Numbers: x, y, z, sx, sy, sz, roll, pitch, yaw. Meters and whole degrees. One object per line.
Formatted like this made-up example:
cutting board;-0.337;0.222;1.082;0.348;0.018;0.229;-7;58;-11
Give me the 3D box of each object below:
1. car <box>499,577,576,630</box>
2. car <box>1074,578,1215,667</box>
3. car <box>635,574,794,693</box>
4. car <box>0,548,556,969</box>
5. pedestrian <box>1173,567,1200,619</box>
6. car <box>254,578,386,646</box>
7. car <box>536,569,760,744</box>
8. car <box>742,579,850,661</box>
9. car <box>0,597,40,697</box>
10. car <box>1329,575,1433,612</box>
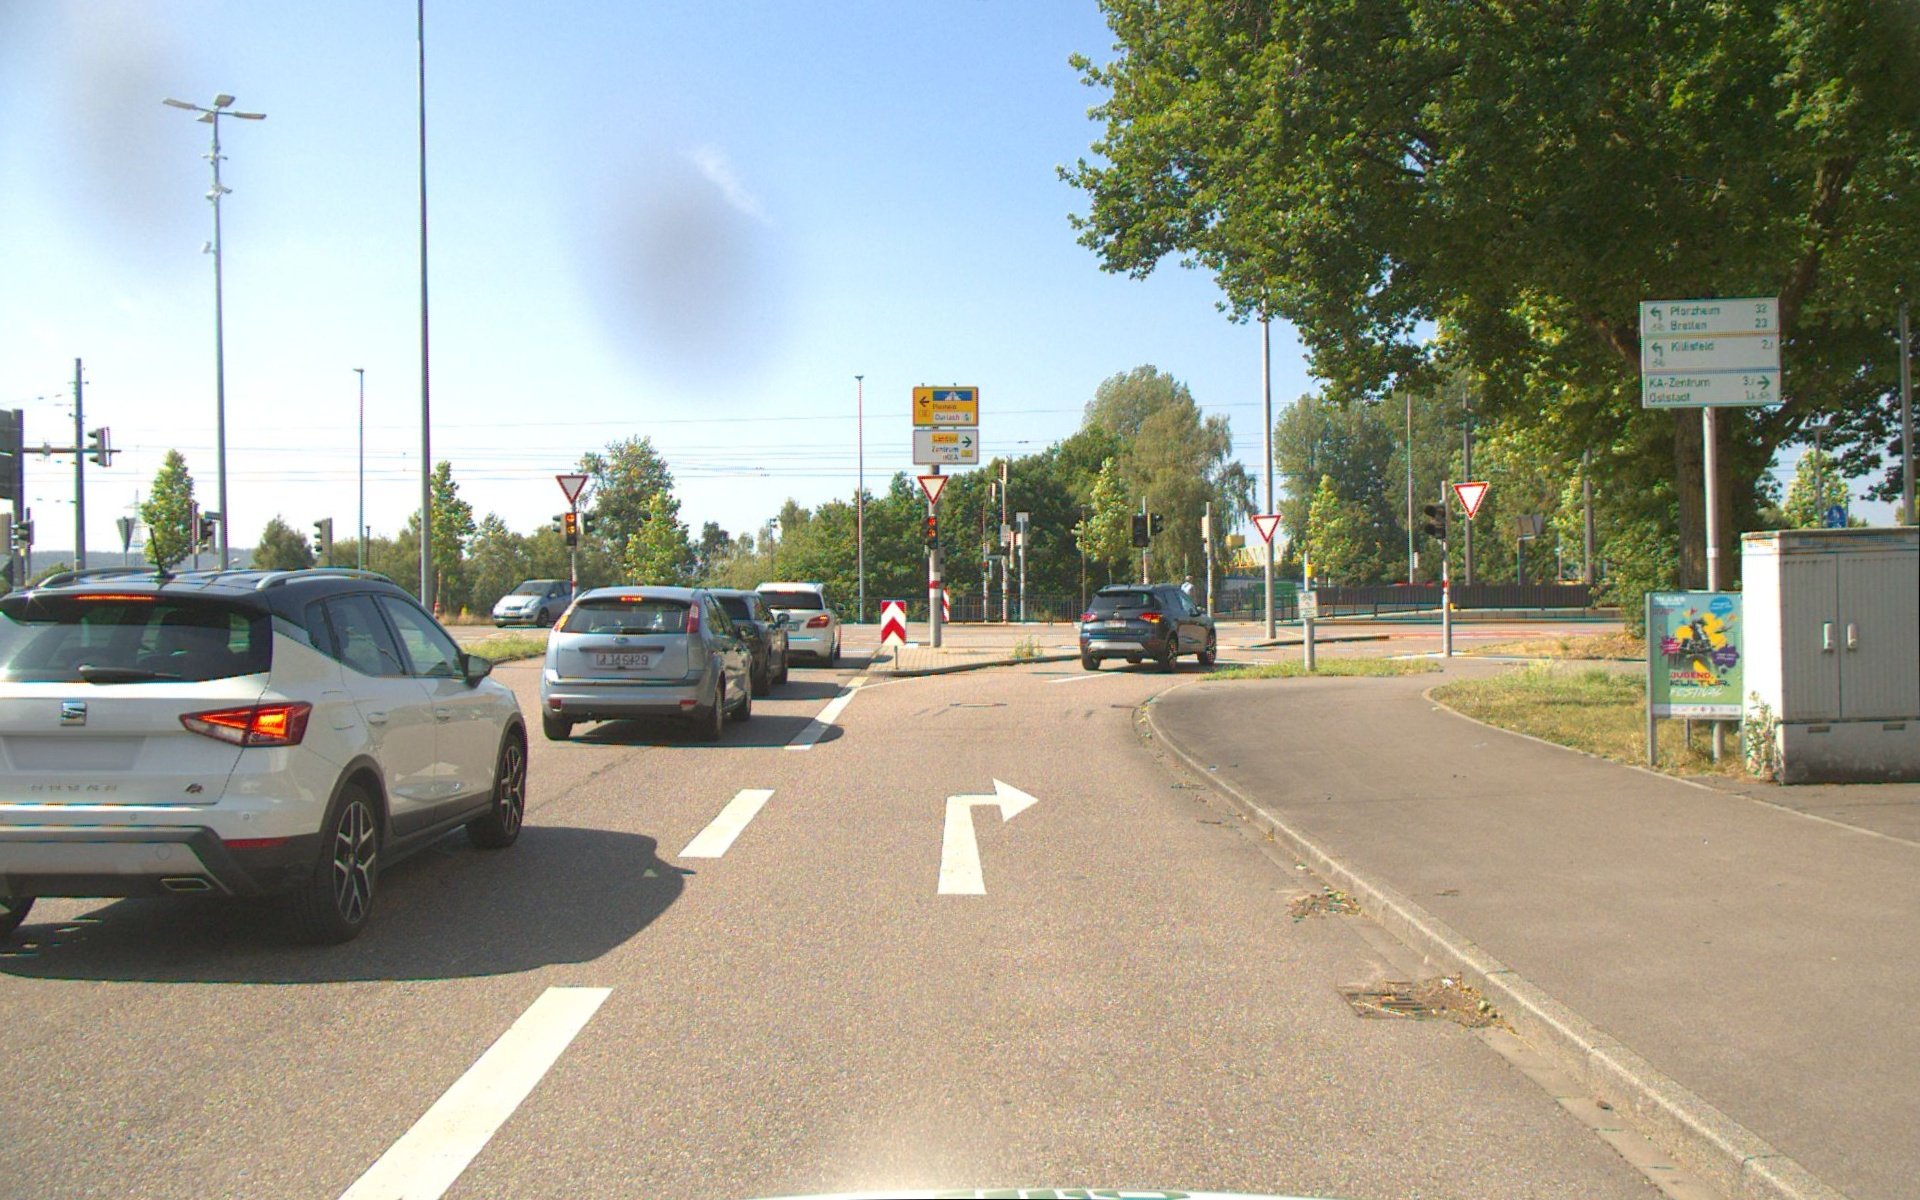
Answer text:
car;-14.343;0.085;56.323;1.594;1.653;3.917;-1;1;0
car;3.485;0.377;30.729;1.636;1.550;3.375;0;0;25
car;-3.486;0.426;24.196;1.702;1.538;4.200;-1;1;-1
car;-3.264;0.531;8.058;1.597;1.524;3.871;0;2;0
pedestrian;6.963;-0.219;50.756;0.756;1.537;1.008;-1;1;10
car;-10.246;0.171;26.601;1.094;1.021;2.492;-1;0;1
car;-3.154;0.508;17.465;1.672;1.600;4.173;-1;0;-2
car;-3.125;0.347;32.239;1.706;1.473;4.388;0;0;-1
car;-16.058;0.752;25.117;1.756;1.574;4.088;-1;0;2
car;17.735;-0.276;69.752;3.907;1.470;1.746;-1;1;-3
